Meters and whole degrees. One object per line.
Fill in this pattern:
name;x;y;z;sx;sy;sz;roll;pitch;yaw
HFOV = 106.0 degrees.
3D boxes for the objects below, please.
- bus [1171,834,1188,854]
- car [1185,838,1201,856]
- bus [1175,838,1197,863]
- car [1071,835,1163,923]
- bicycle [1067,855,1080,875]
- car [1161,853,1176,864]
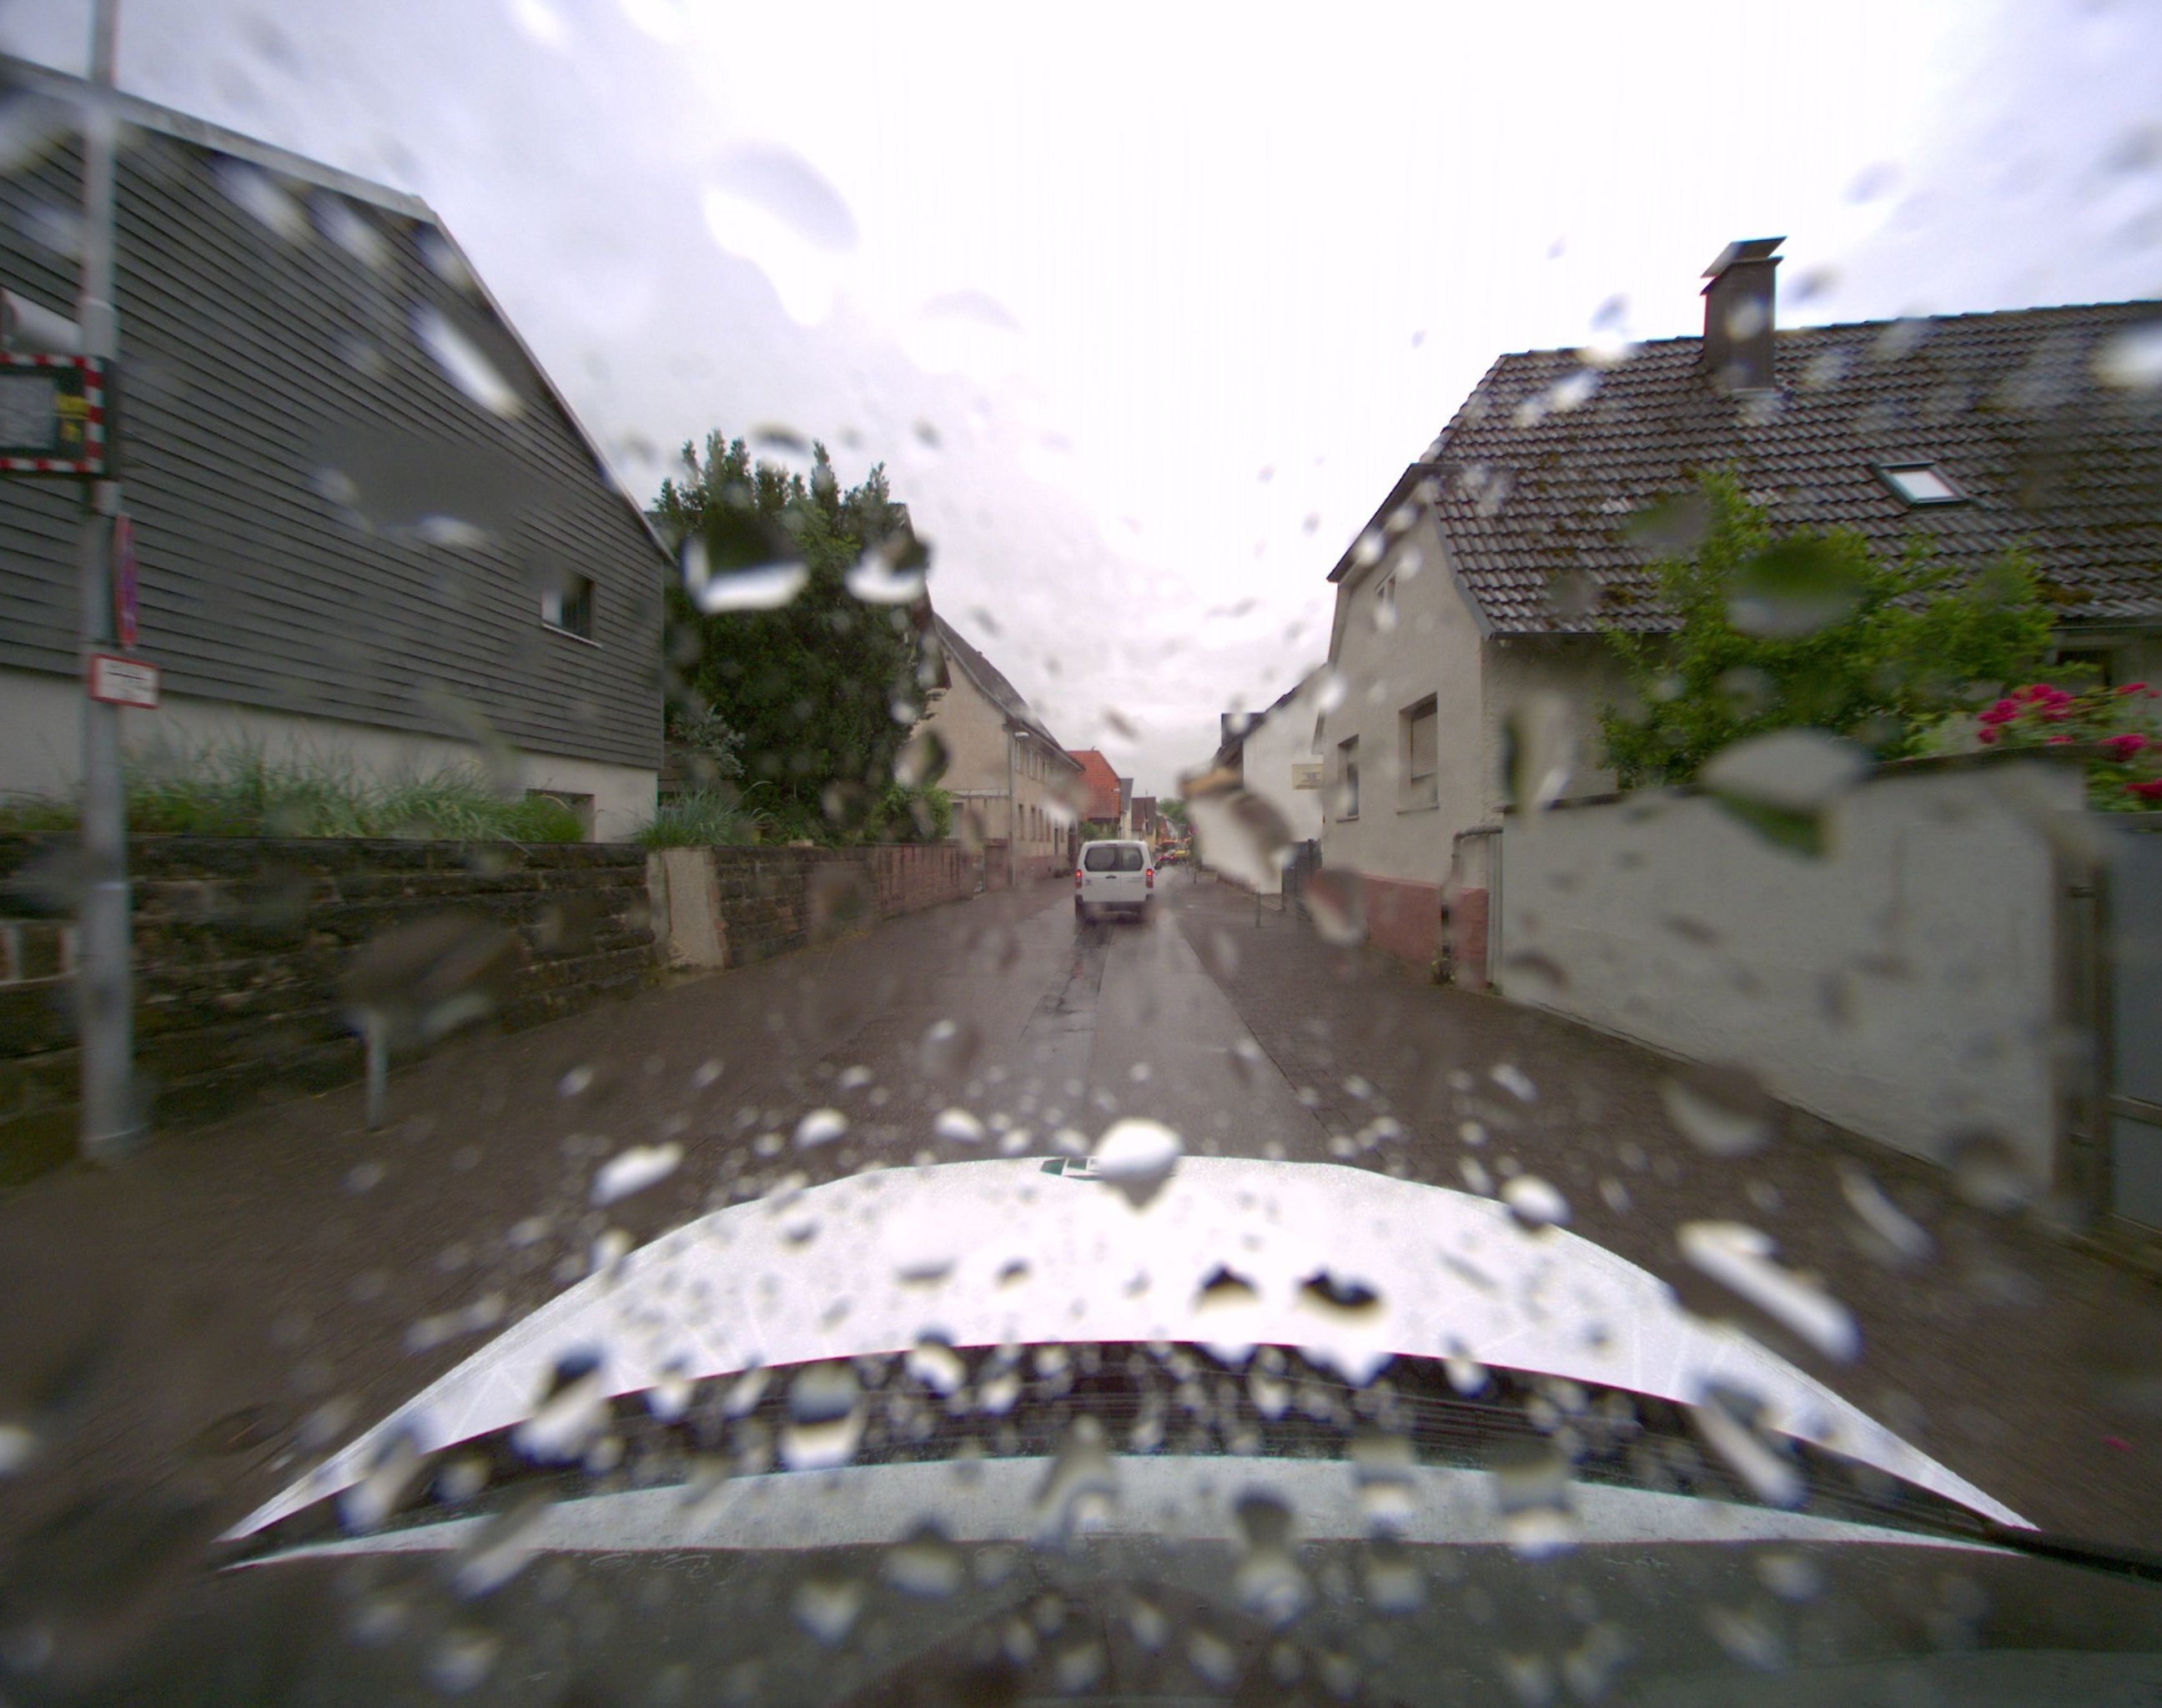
bus;18.121;-1.789;149.596;2.778;3.329;8.194;2;0;8
car;13.566;-0.809;98.933;1.817;2.014;3.701;1;-1;7
bus;14.009;-0.422;108.465;2.778;3.180;8.194;2;0;8
car;0.960;0.551;19.345;1.785;1.819;4.110;-2;-1;7
bicycle;-0.433;0.663;49.344;0.480;1.180;1.840;1;-1;9
car;10.457;0.548;97.353;1.553;1.371;3.593;1;-1;8
